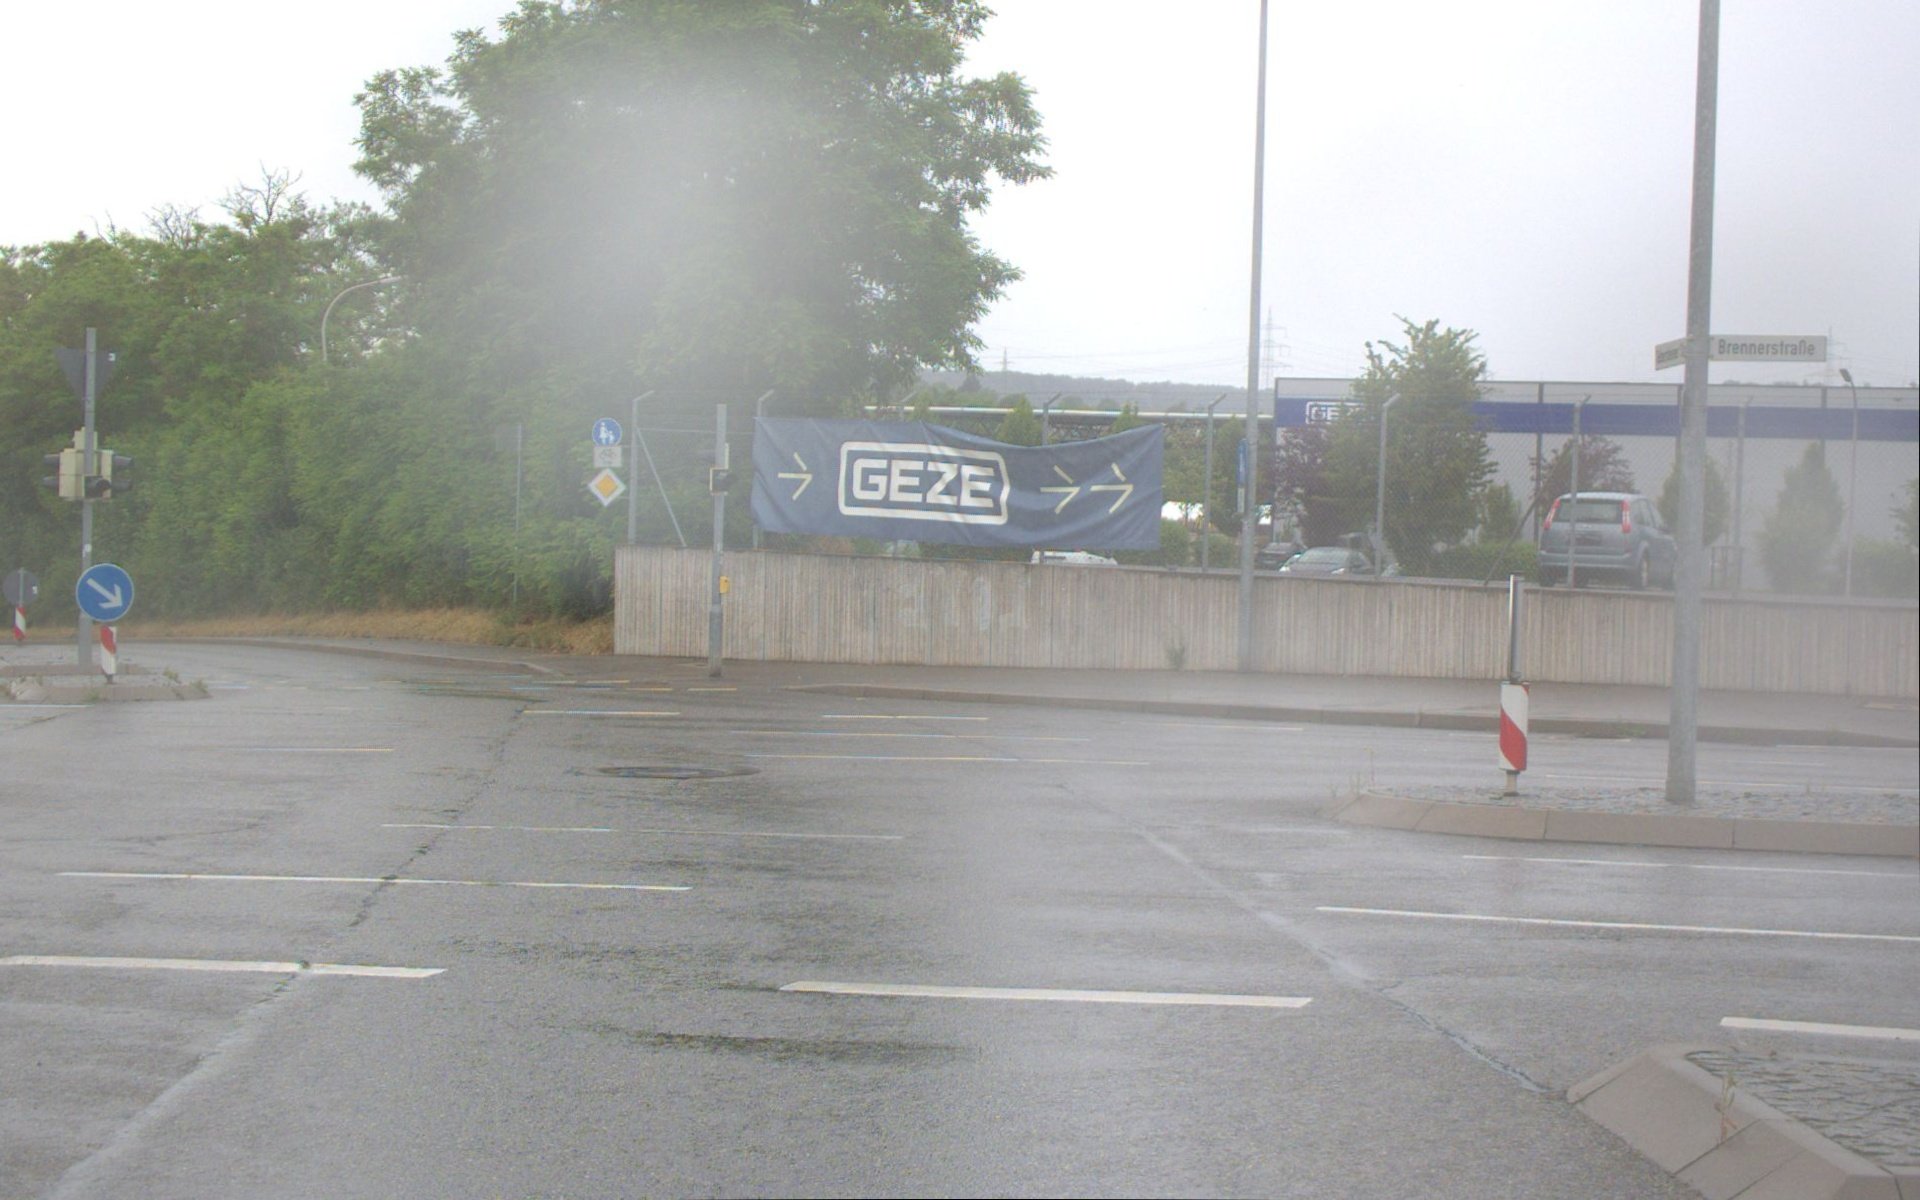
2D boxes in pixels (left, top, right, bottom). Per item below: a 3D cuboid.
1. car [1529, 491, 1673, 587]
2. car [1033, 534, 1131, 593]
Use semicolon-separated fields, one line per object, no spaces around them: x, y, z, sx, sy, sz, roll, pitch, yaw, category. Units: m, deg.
10.728;-0.998;57.408;1.744;1.548;3.527;1;1;21;car
3.416;-1.012;95.876;1.668;1.601;3.527;1;1;21;car
